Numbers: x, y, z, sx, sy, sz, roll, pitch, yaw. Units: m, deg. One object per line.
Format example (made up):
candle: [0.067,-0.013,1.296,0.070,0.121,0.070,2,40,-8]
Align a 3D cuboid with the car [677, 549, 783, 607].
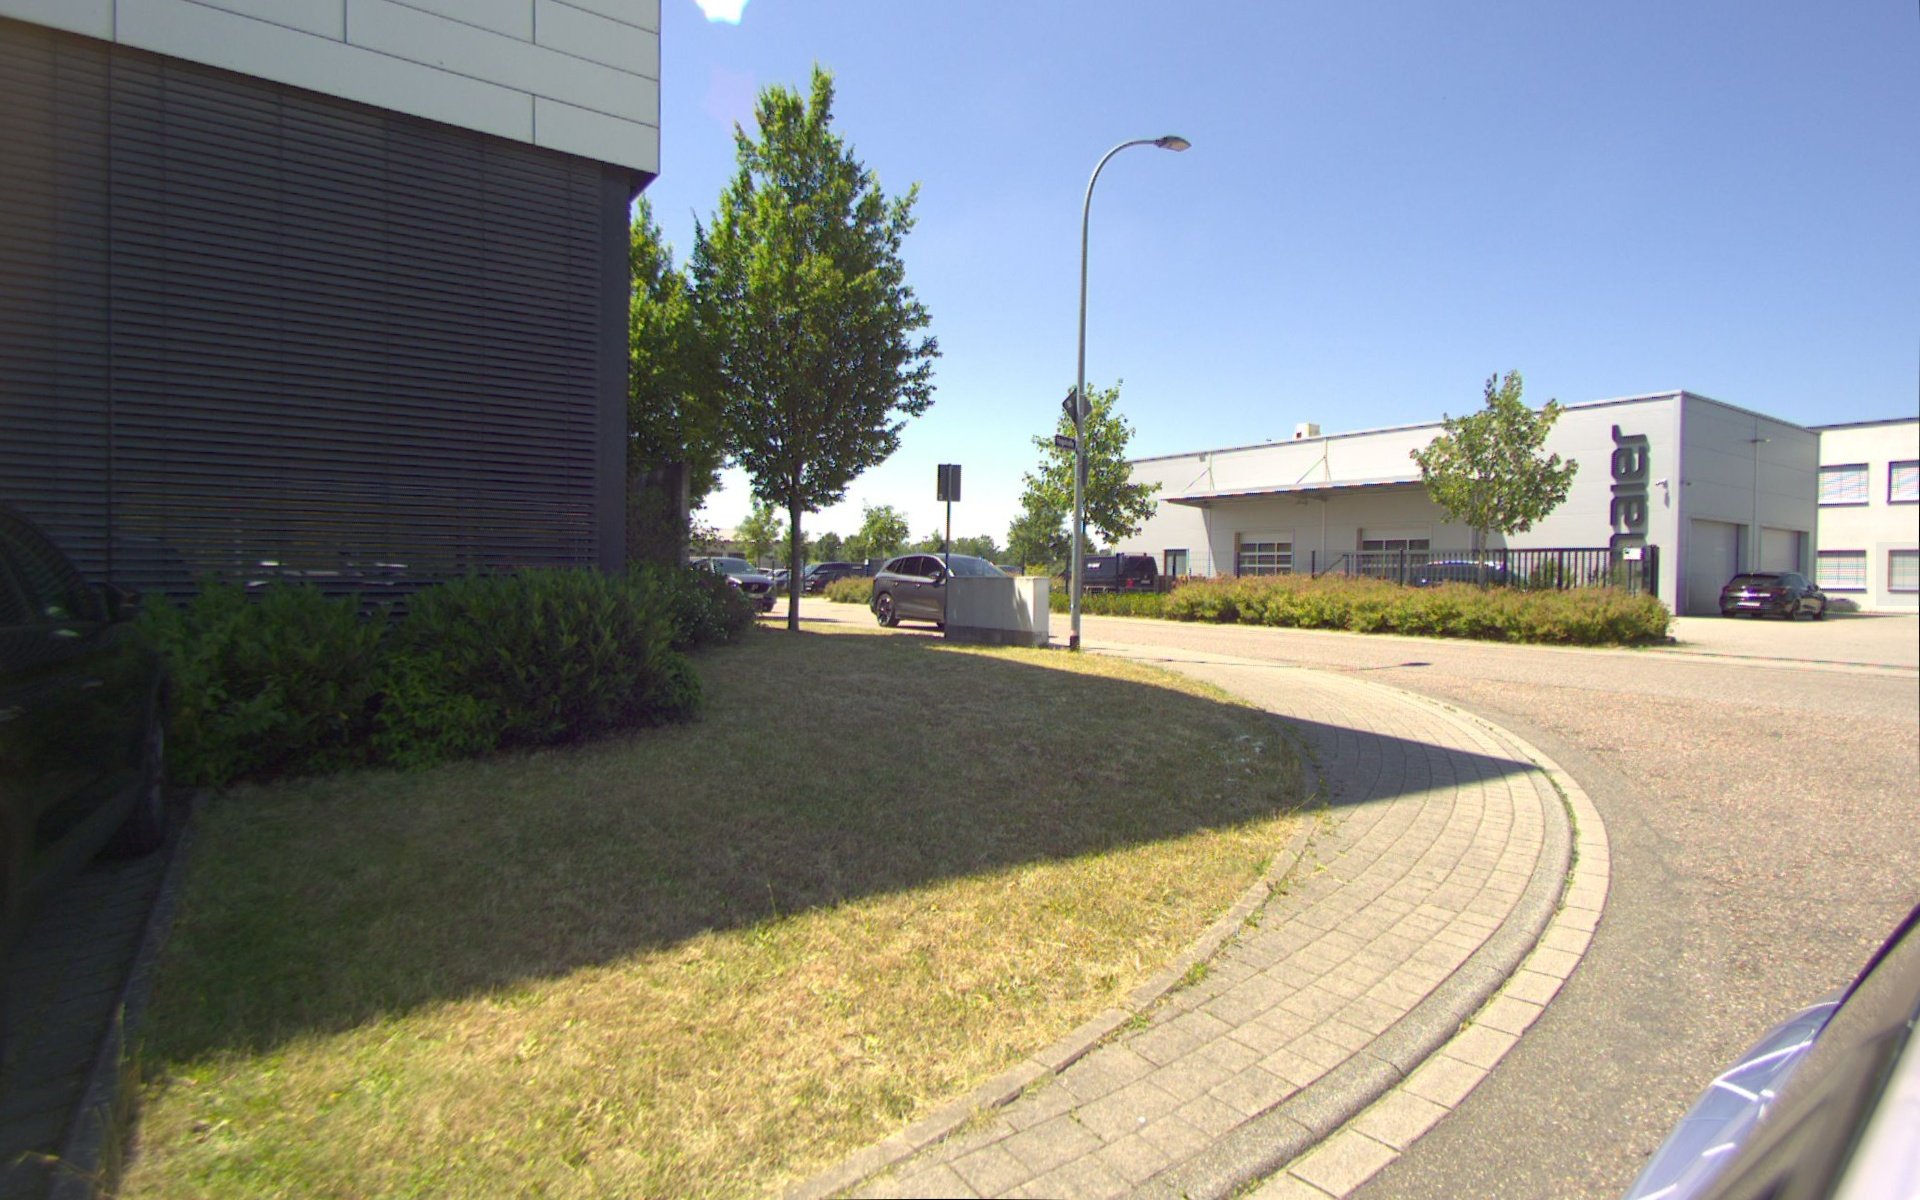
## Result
car: [-7.278,-0.718,31.733,1.729,1.683,4.365,2,1,-34]

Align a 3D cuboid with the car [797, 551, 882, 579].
car: [-6.618,-1.935,55.796,4.238,1.464,1.965,-1,3,-35]

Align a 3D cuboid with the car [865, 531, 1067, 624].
car: [-0.008,-0.482,21.022,1.775,1.683,4.609,2,1,-35]

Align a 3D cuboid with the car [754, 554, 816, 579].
car: [-10.888,-2.084,62.849,3.318,1.516,1.905,-1,3,-35]

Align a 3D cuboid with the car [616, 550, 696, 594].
car: [-11.332,-1.060,37.539,1.688,1.499,4.033,2,1,-34]

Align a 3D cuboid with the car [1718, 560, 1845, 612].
car: [24.257,-0.444,29.858,3.795,1.437,1.799,-1,3,-33]

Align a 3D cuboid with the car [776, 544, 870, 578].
car: [-7.824,-2.264,57.973,4.980,1.873,1.965,-1,3,-35]

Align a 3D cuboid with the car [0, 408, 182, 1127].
car: [-3.532,0.374,2.787,1.690,1.786,4.006,-1,4,-30]

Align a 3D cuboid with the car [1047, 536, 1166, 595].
car: [5.616,-1.389,39.306,1.969,2.124,4.697,-2,4,-33]

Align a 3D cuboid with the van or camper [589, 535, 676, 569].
van or camper: [-28.249,-4.125,87.453,6.668,2.717,2.576,0,2,-34]

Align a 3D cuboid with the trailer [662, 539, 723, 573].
trailer: [-19.476,-3.200,73.831,3.928,2.388,1.726,-3,4,-38]
